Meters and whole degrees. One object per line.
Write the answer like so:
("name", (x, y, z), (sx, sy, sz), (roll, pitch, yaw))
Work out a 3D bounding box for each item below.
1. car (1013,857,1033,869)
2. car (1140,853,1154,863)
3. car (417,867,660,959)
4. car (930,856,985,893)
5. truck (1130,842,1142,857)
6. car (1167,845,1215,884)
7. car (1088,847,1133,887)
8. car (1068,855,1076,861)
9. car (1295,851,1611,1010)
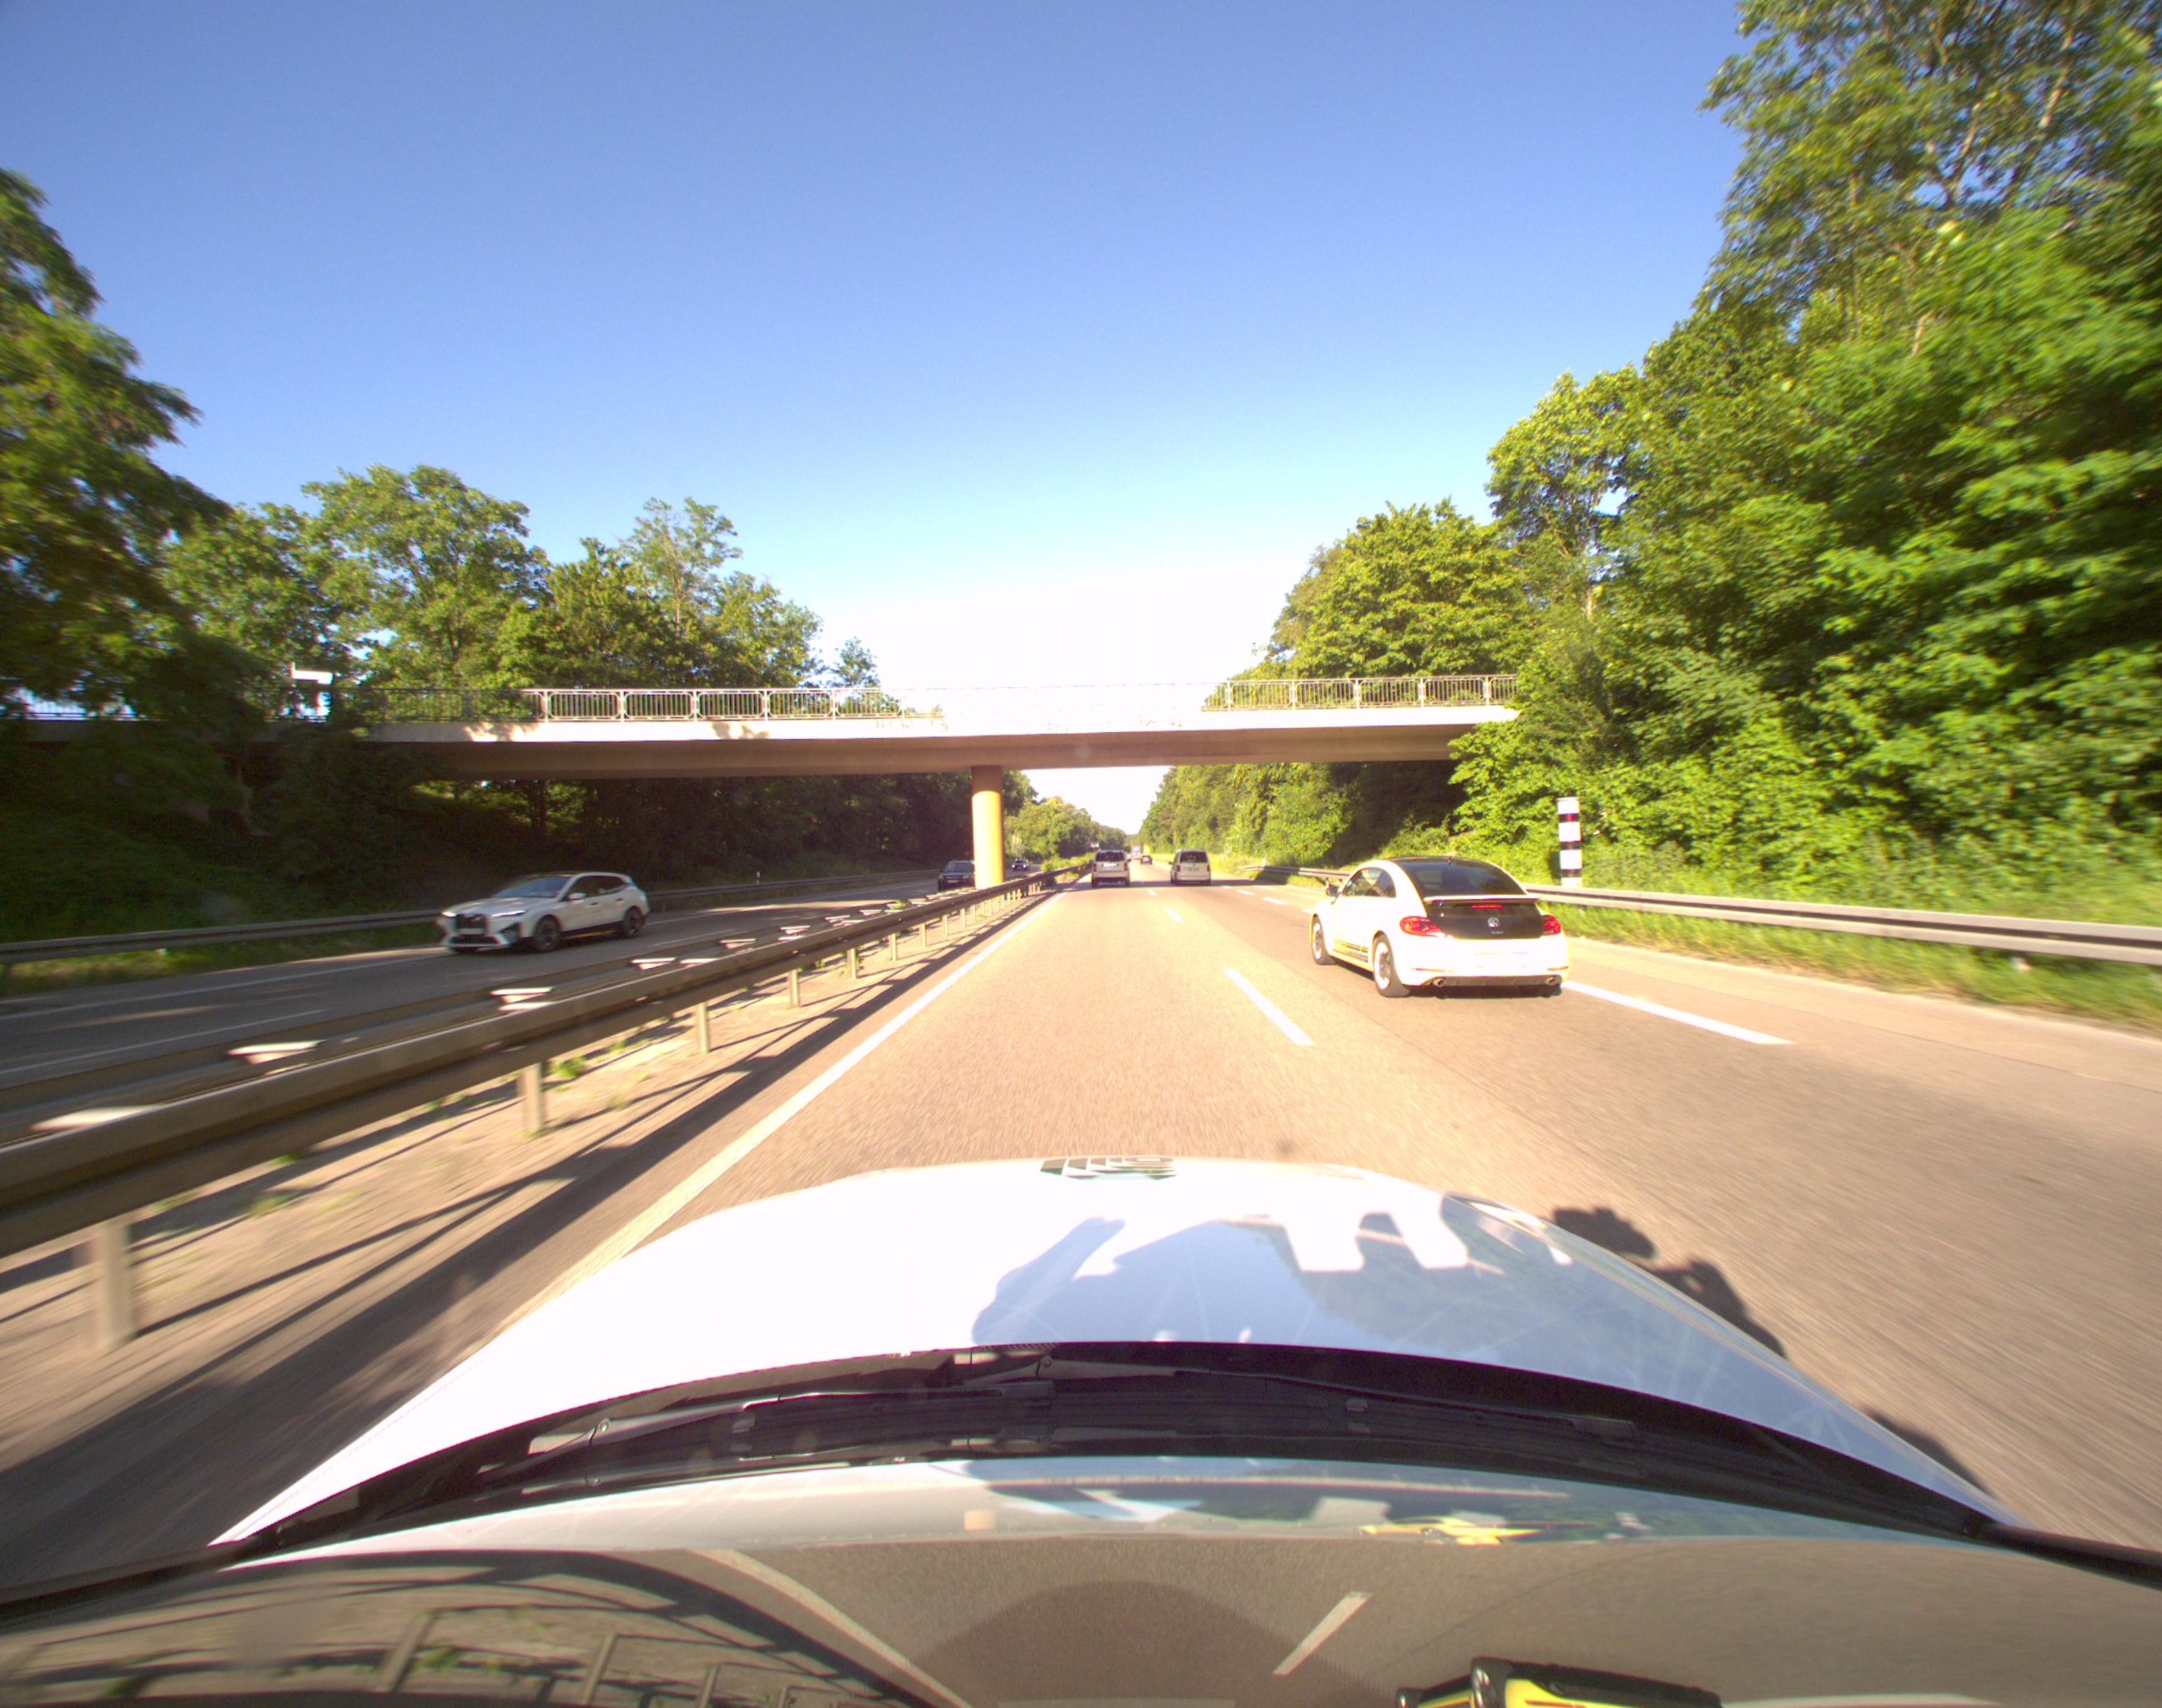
("car", (-7.341, 1.125, 103.111), (1.953, 1.450, 4.586), (-1, 0, 2))
("car", (10.011, 0.577, 123.491), (1.985, 1.398, 4.003), (-2, 0, 3))
("car", (-12.075, 1.212, 18.682), (1.952, 1.659, 5.044), (-2, 0, 3))
("car", (-6.404, 1.018, 42.791), (1.953, 1.724, 4.594), (-2, 0, 2))
("truck", (16.559, -1.320, 245.631), (3.481, 4.172, 8.868), (-2, 0, 3))
("car", (5.476, 0.499, 41.008), (1.857, 1.770, 4.471), (-2, 0, 1))
("car", (1.409, 0.610, 39.675), (2.078, 1.828, 4.001), (-1, 0, 1))
("car", (-2.277, 0.933, 205.660), (1.954, 1.450, 4.507), (-1, 0, 1))
("car", (4.084, 0.718, 9.872), (1.873, 1.461, 4.356), (-1, 0, 1))
